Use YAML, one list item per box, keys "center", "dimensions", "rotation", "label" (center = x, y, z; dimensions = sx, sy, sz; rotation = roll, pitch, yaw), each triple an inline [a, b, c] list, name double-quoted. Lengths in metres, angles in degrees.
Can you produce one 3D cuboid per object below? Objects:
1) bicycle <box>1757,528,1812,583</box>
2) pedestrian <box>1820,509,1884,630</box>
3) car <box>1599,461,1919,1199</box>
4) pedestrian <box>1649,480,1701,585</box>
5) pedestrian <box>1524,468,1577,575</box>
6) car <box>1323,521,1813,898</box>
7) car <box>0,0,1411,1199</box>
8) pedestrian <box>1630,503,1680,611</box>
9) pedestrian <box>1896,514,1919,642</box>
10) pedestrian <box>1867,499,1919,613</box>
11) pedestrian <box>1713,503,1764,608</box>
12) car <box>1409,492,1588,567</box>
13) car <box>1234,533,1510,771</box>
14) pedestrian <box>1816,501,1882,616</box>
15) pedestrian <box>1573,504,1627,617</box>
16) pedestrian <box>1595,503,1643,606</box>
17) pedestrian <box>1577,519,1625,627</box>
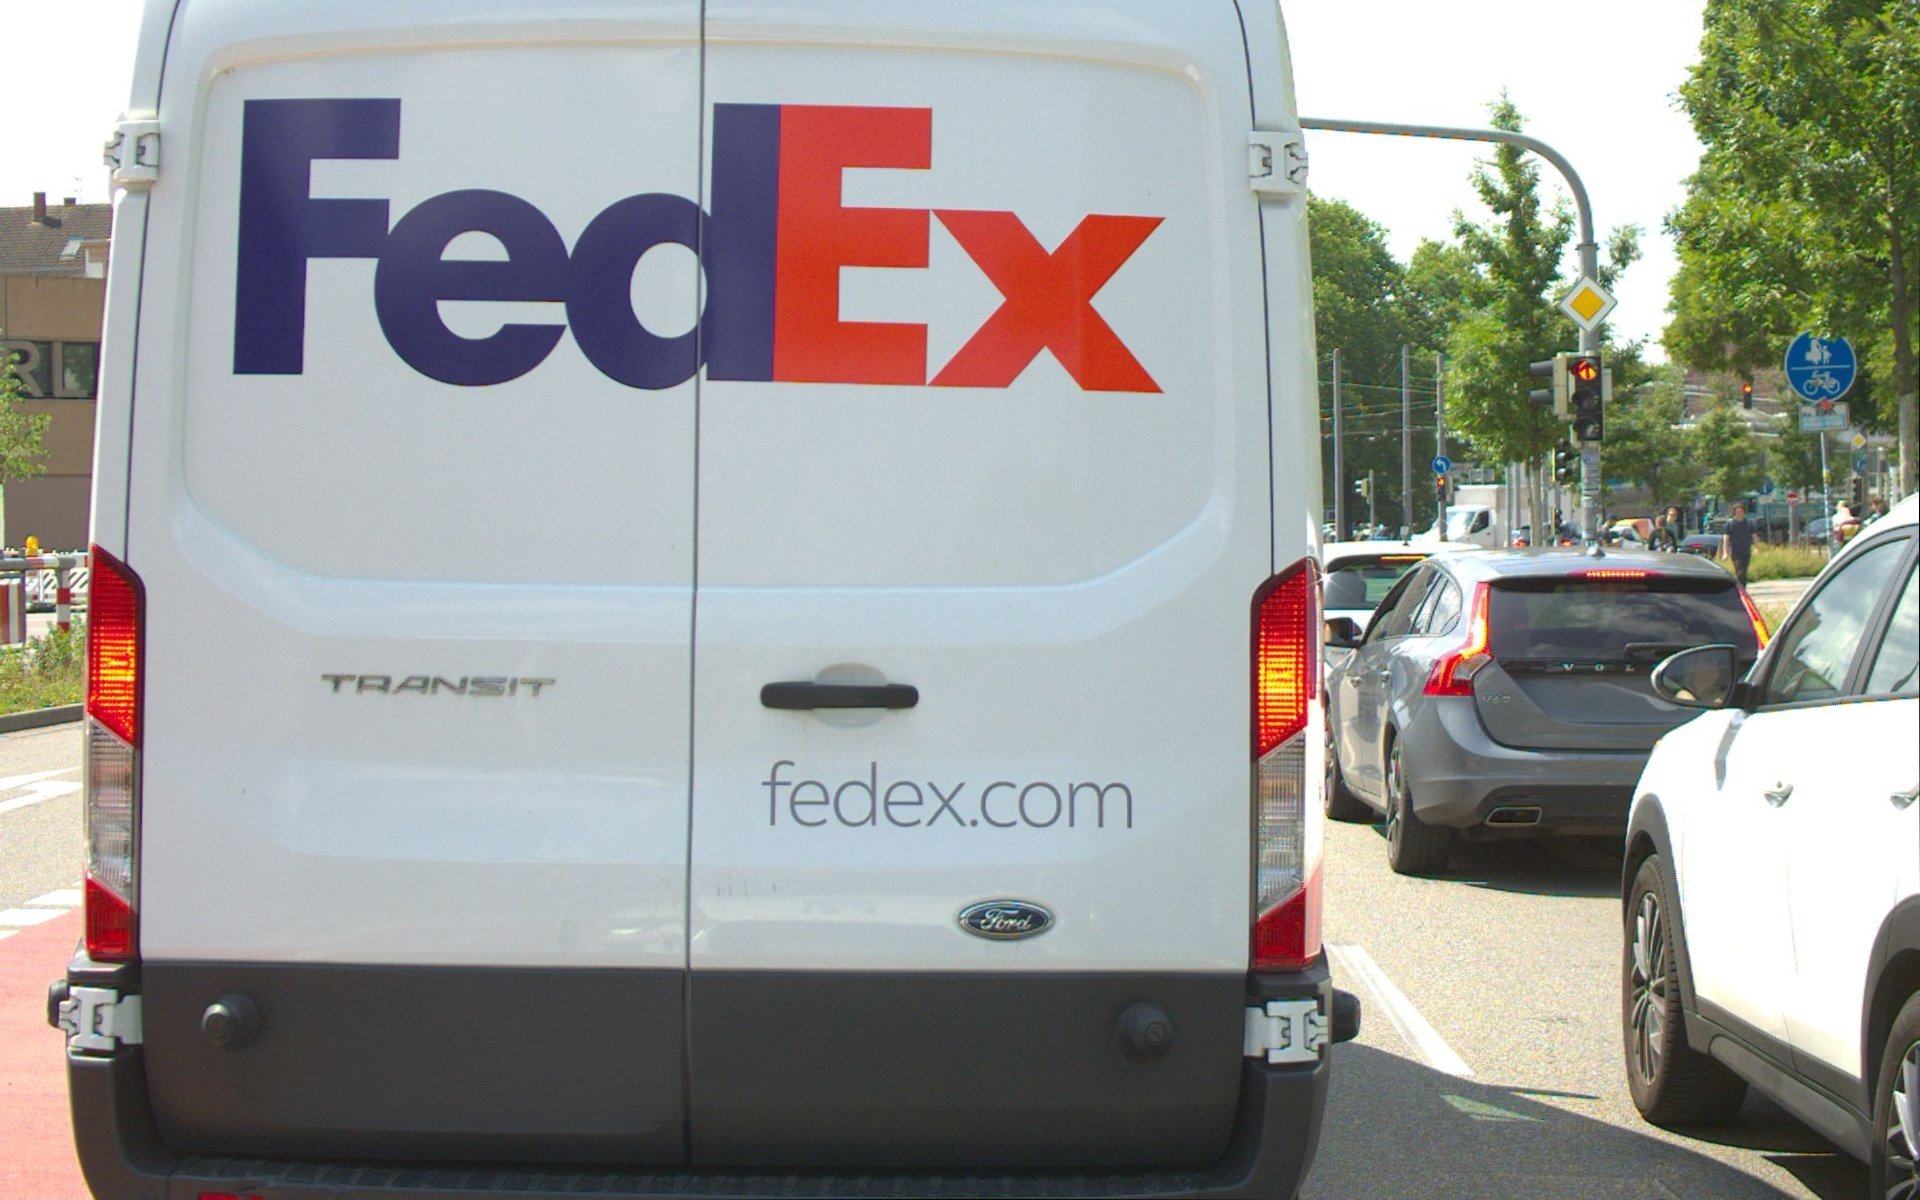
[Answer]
- center: [23.313, -1.272, 97.165]
  dimensions: [1.426, 1.459, 4.308]
  rotation: [0, 2, 15]
  label: "bicycle"
- center: [13.773, -0.479, 53.081]
  dimensions: [0.759, 1.843, 0.816]
  rotation: [-1, 1, 0]
  label: "pedestrian"
- center: [2.588, 0.556, 7.202]
  dimensions: [1.814, 1.673, 3.974]
  rotation: [0, 1, 1]
  label: "car"
- center: [12.748, -1.210, 61.288]
  dimensions: [0.759, 1.843, 0.816]
  rotation: [-1, 1, 1]
  label: "pedestrian"
- center: [10.297, -1.363, 59.987]
  dimensions: [0.813, 1.843, 0.761]
  rotation: [-1, 1, 3]
  label: "pedestrian"
- center: [2.719, 0.412, 16.124]
  dimensions: [1.691, 1.543, 3.720]
  rotation: [0, 1, 1]
  label: "car"
- center: [-0.353, 0.069, 7.195]
  dimensions: [2.072, 2.572, 4.428]
  rotation: [0, 1, 1]
  label: "car"
- center: [11.993, -0.743, 59.318]
  dimensions: [0.759, 1.843, 0.815]
  rotation: [0, 1, 18]
  label: "pedestrian"
- center: [12.661, -0.299, 44.734]
  dimensions: [0.759, 1.649, 0.816]
  rotation: [-1, 1, 3]
  label: "pedestrian"
- center: [15.346, -0.732, 56.141]
  dimensions: [0.758, 1.843, 0.816]
  rotation: [-1, 1, -8]
  label: "pedestrian"
- center: [13.762, -0.788, 60.793]
  dimensions: [0.759, 1.843, 0.816]
  rotation: [-1, 1, 3]
  label: "pedestrian"
- center: [20.449, -2.653, 130.470]
  dimensions: [7.063, 2.708, 2.495]
  rotation: [0, 1, -38]
  label: "car"
- center: [2.720, 0.293, 23.279]
  dimensions: [1.499, 1.459, 3.474]
  rotation: [0, 1, 1]
  label: "car"
- center: [14.437, -0.679, 55.853]
  dimensions: [0.758, 1.843, 0.816]
  rotation: [-1, 1, -10]
  label: "pedestrian"
- center: [10.550, -0.659, 56.672]
  dimensions: [0.759, 1.843, 0.815]
  rotation: [0, 1, 18]
  label: "pedestrian"
- center: [11.830, -0.824, 61.741]
  dimensions: [0.759, 1.843, 0.816]
  rotation: [-1, 1, 6]
  label: "pedestrian"
- center: [11.007, -0.469, 59.032]
  dimensions: [0.759, 1.843, 0.816]
  rotation: [0, 1, 15]
  label: "pedestrian"
